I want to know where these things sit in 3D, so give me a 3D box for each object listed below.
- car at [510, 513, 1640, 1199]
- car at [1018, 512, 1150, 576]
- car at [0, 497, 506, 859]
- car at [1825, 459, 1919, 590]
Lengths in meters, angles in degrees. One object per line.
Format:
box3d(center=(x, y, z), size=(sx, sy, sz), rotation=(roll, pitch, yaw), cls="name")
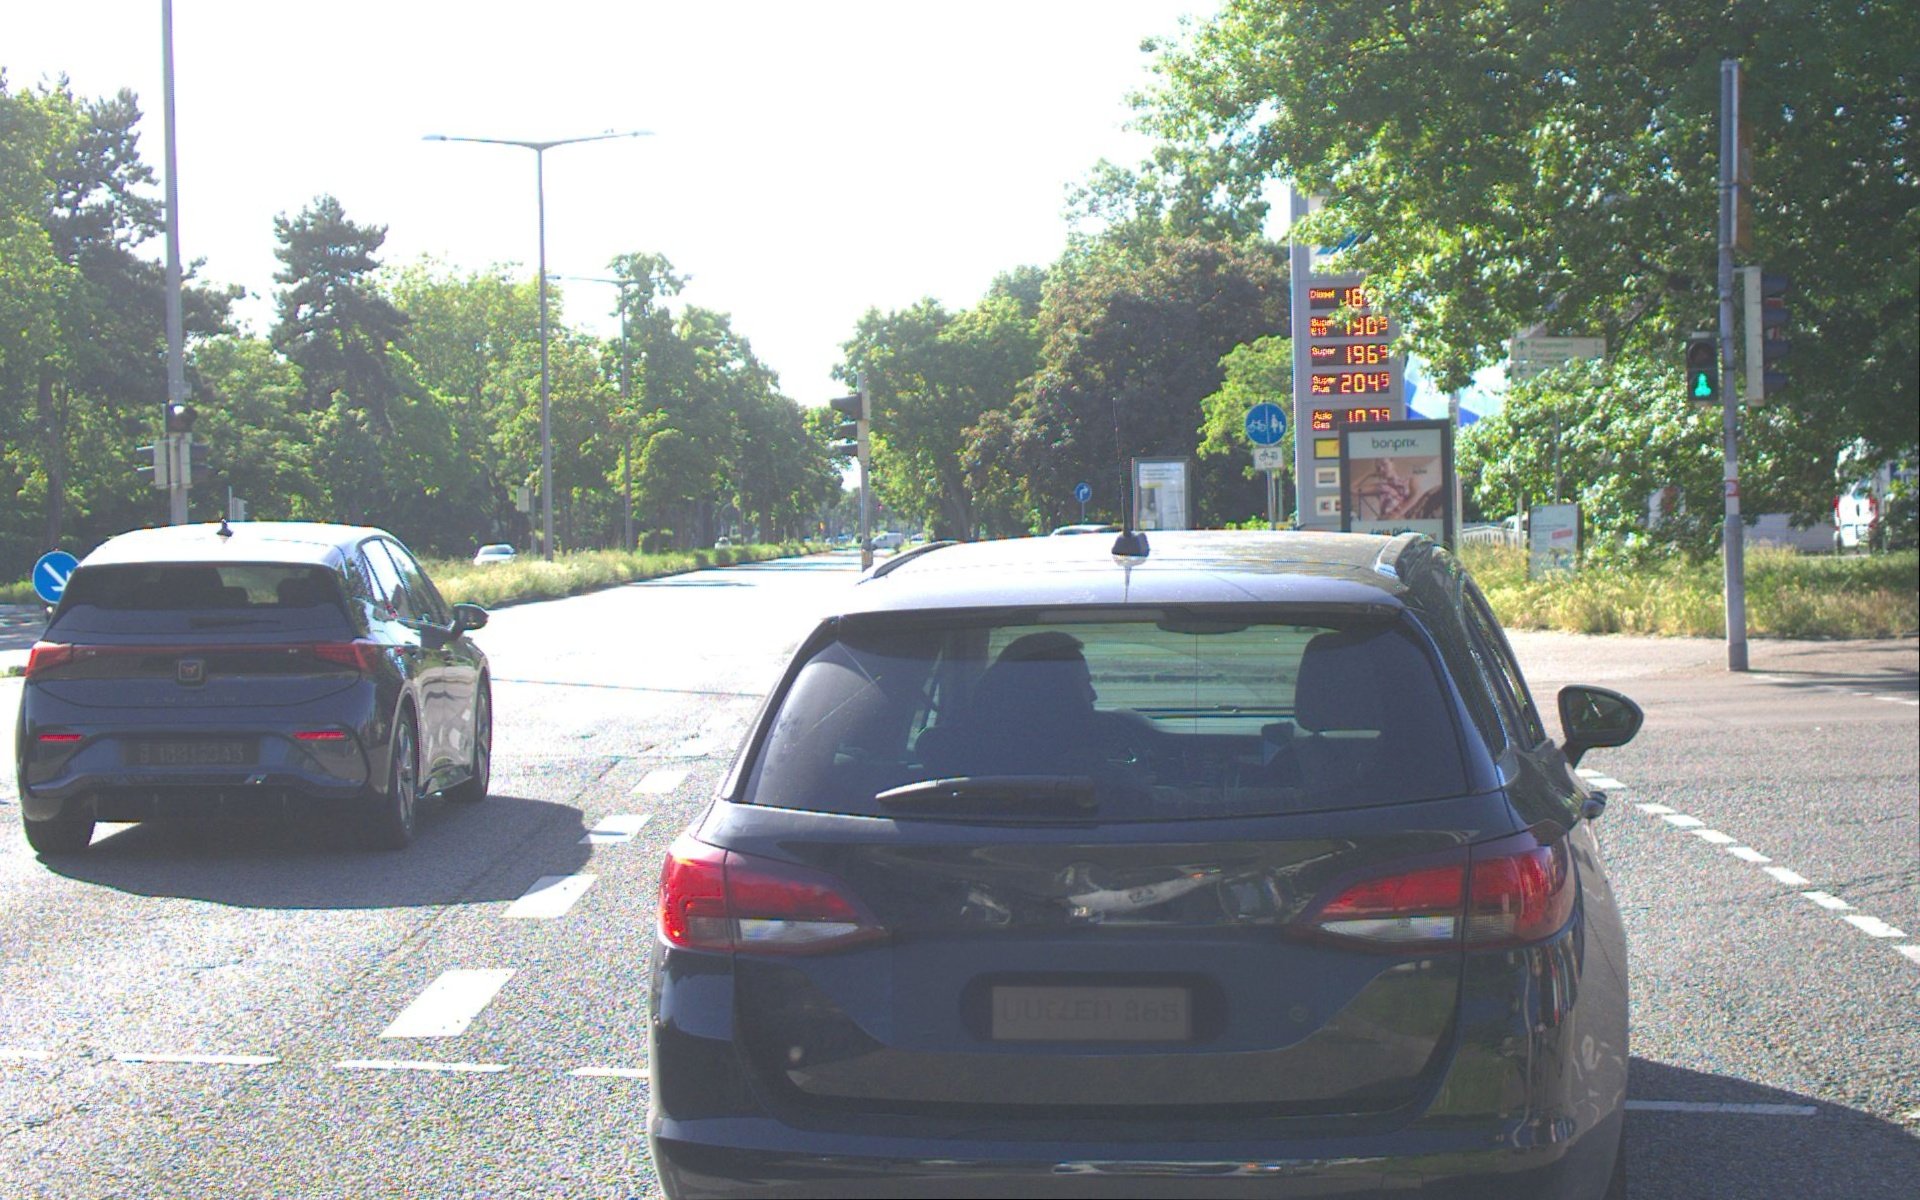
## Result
box3d(center=(0.537, 0.601, 7.474), size=(1.762, 1.486, 4.289), rotation=(-1, 2, 10), cls="car")
box3d(center=(3.921, -1.783, 109.564), size=(1.994, 2.007, 3.998), rotation=(0, 1, -41), cls="car")
box3d(center=(-3.479, 0.312, 17.374), size=(1.836, 1.583, 4.365), rotation=(1, 1, -1), cls="car")
box3d(center=(17.278, -1.199, 56.399), size=(5.635, 2.092, 2.000), rotation=(1, 1, -1), cls="car")
